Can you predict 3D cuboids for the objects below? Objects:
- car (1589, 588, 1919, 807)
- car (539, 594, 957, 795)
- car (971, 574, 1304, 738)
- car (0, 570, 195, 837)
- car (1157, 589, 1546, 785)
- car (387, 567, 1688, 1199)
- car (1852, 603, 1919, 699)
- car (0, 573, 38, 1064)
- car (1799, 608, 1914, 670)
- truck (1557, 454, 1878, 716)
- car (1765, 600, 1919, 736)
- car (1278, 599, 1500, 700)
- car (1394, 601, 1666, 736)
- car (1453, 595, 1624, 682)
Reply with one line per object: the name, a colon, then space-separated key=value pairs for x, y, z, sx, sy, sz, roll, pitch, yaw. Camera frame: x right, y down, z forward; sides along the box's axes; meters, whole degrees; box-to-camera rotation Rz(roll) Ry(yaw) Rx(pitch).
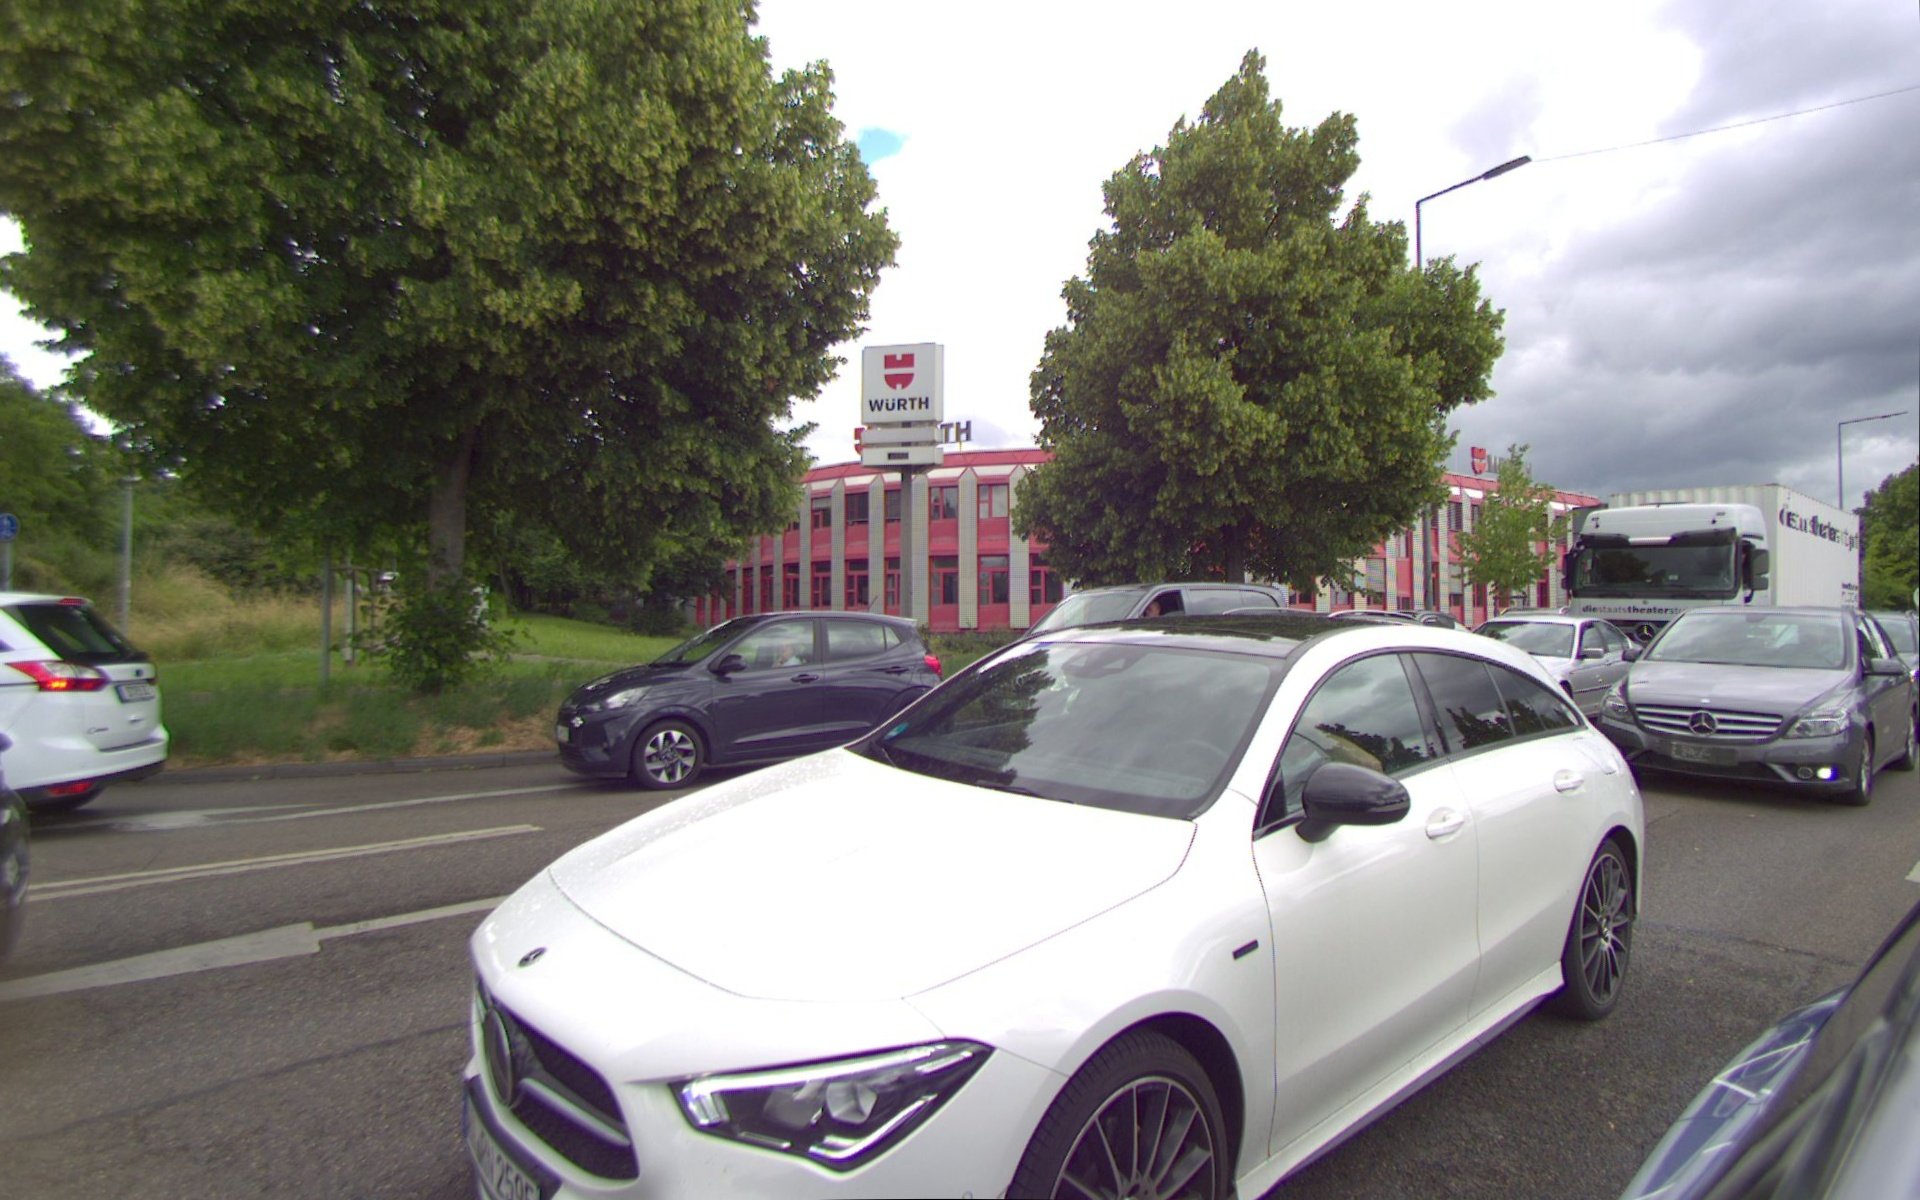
car: x=7.298 y=0.708 z=9.062 sx=3.976 sy=1.527 sz=1.749 roll=1 pitch=-1 yaw=-41
car: x=-1.923 y=0.725 z=9.499 sx=3.495 sy=1.525 sz=1.608 roll=-1 pitch=0 yaw=-34
car: x=2.456 y=0.587 z=13.266 sx=4.592 sy=1.797 sz=1.762 roll=-1 pitch=0 yaw=-40
car: x=-7.902 y=0.658 z=6.616 sx=4.278 sy=1.676 sz=1.767 roll=0 pitch=-1 yaw=-20
car: x=3.955 y=0.688 z=9.855 sx=4.279 sy=1.504 sz=1.749 roll=1 pitch=-1 yaw=-41
car: x=0.780 y=0.693 z=3.421 sx=4.453 sy=1.525 sz=1.847 roll=-1 pitch=1 yaw=-42
car: x=16.636 y=0.856 z=17.094 sx=3.431 sy=1.525 sz=1.825 roll=2 pitch=-1 yaw=-39
car: x=-4.830 y=0.673 z=2.418 sx=3.813 sy=1.471 sz=1.616 roll=-1 pitch=0 yaw=-41
car: x=24.662 y=1.023 z=27.806 sx=4.299 sy=1.549 sz=1.850 roll=1 pitch=-1 yaw=-41
truck: x=14.986 y=-0.208 z=19.573 sx=10.000 sy=3.953 sz=2.808 roll=0 pitch=0 yaw=-40
car: x=11.738 y=0.781 z=12.928 sx=3.769 sy=1.512 sz=1.627 roll=1 pitch=-1 yaw=-41
car: x=7.404 y=0.801 z=17.328 sx=4.034 sy=1.536 sz=1.842 roll=0 pitch=-4 yaw=-41
car: x=7.463 y=0.750 z=13.081 sx=4.215 sy=1.400 sz=1.749 roll=-1 pitch=1 yaw=-41
car: x=12.389 y=0.805 z=21.588 sx=4.133 sy=1.679 sz=1.863 roll=1 pitch=-3 yaw=-41
